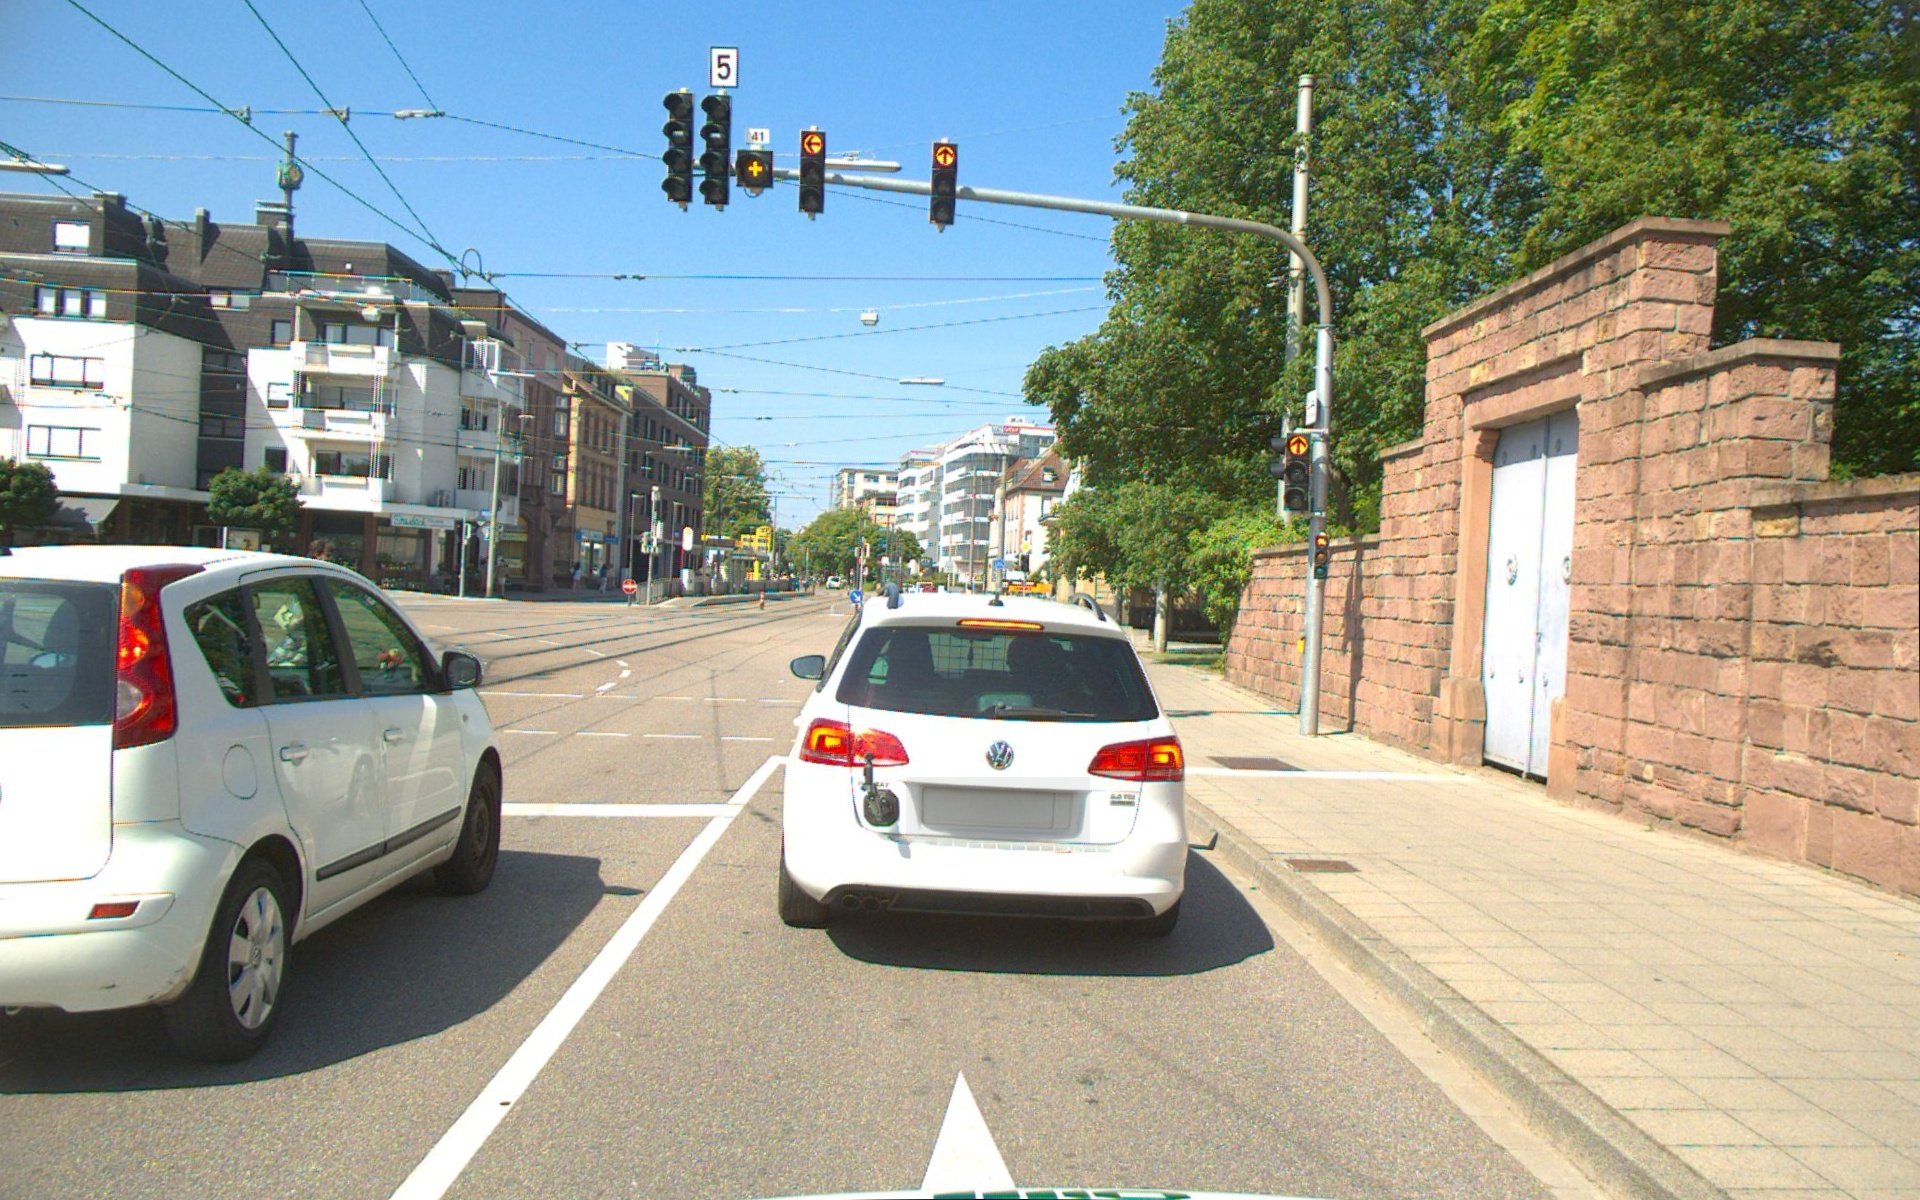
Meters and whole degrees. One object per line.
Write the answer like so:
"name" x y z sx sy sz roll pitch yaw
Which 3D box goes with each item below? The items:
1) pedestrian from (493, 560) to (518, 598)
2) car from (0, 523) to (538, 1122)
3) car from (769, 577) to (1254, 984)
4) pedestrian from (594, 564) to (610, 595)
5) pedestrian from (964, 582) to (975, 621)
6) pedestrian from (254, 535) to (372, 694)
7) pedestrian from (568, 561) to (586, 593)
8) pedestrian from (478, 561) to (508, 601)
"pedestrian" -21.367 -0.983 77.714 0.844 1.773 0.975 1 -1 2
"car" -2.877 0.542 6.286 1.608 1.593 3.803 1 1 -1
"car" 0.159 0.655 8.158 1.771 1.473 3.999 2 1 -1
"pedestrian" -21.241 -1.215 98.153 0.845 1.773 0.973 1 -1 -6
"pedestrian" 0.586 0.081 100.810 0.675 2.366 1.232 1 -1 1
"pedestrian" -7.078 0.160 18.143 0.953 1.680 0.955 1 -1 -6
"pedestrian" -21.374 -1.266 92.311 0.845 1.773 0.973 1 -1 -6
"pedestrian" -21.042 -0.843 74.550 0.850 1.773 0.968 0 -1 44
